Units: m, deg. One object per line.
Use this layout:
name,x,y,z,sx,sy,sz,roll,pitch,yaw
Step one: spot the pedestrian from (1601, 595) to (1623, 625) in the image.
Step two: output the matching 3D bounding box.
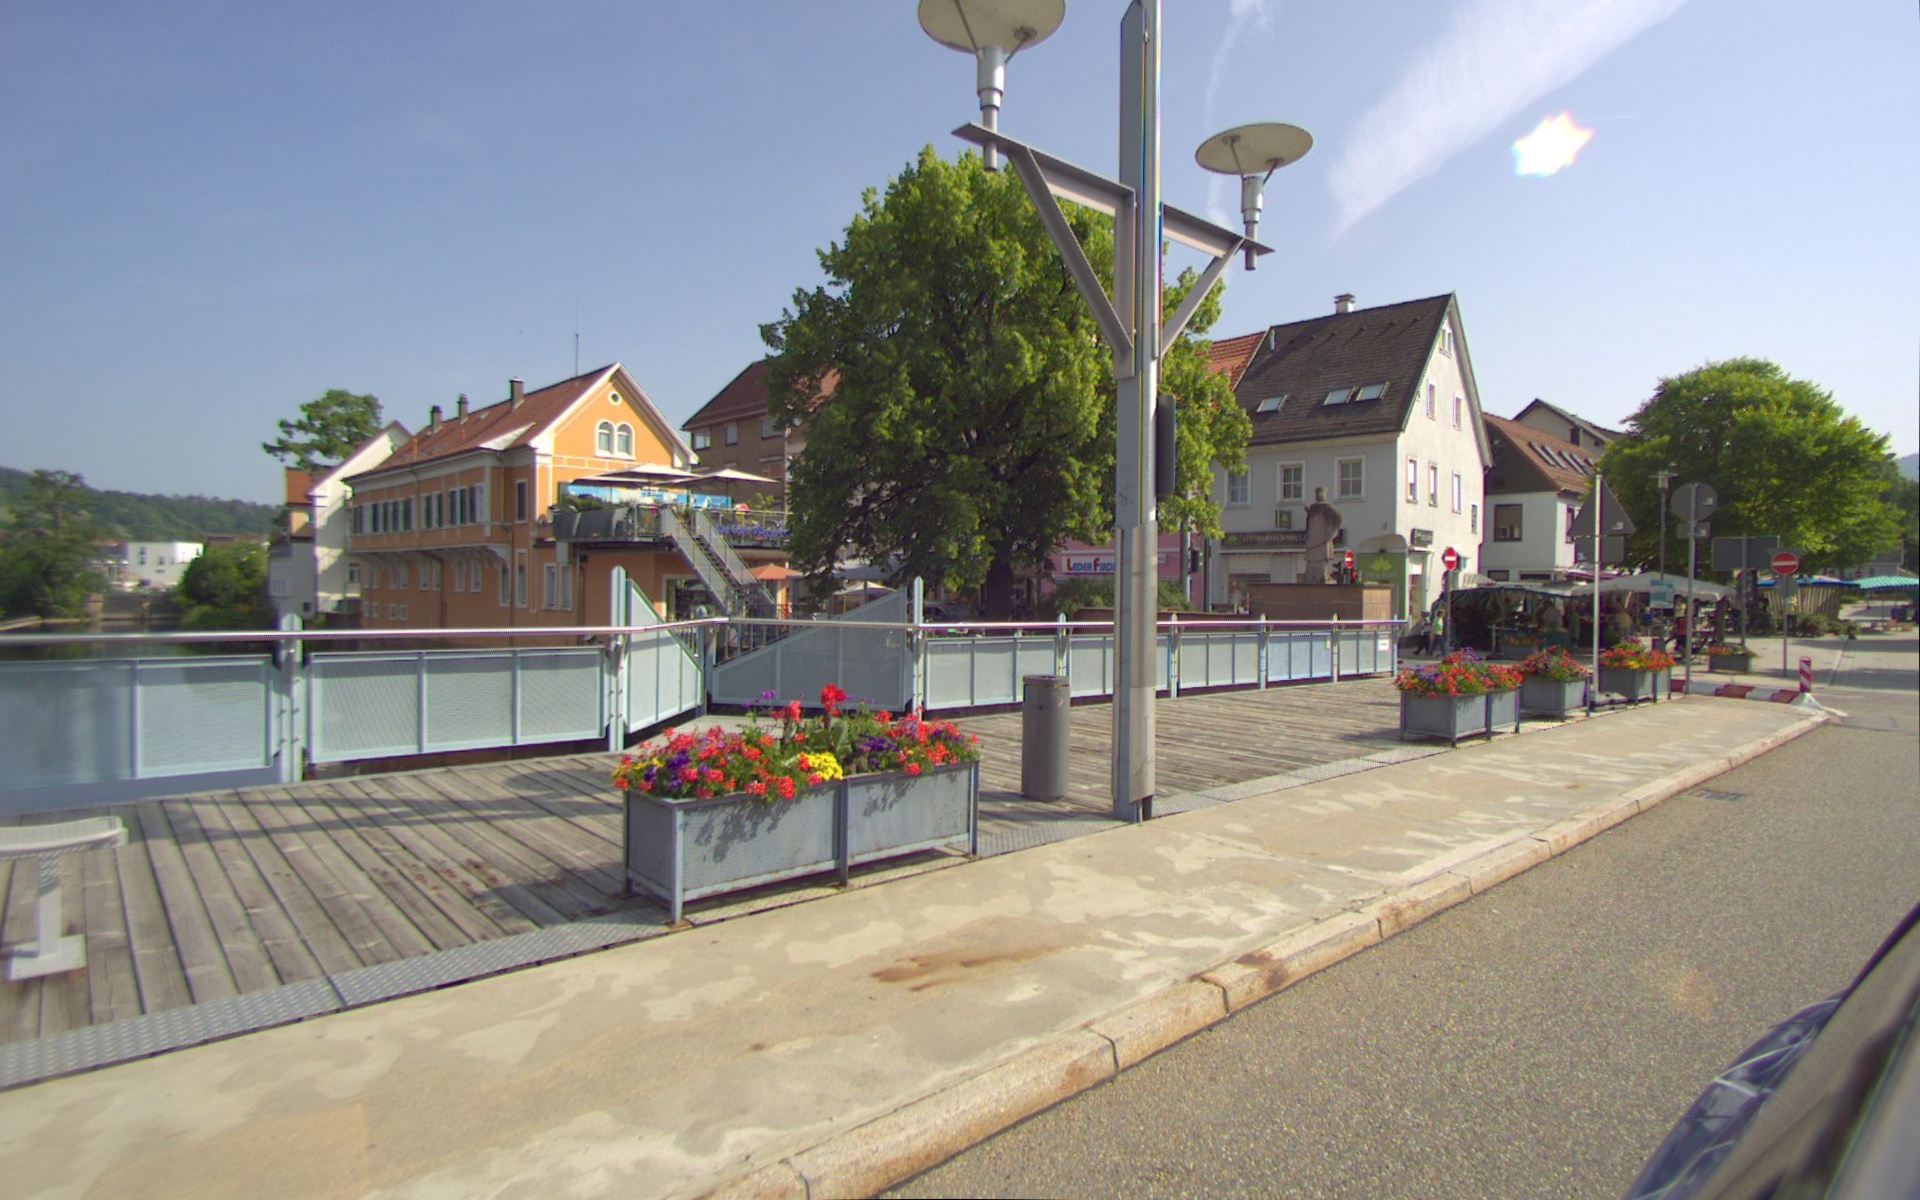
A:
pedestrian,30.361,0.460,47.124,0.687,1.347,0.626,-1,3,-40

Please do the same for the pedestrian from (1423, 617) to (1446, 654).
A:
pedestrian,15.652,1.157,33.415,0.614,1.175,0.513,1,0,19

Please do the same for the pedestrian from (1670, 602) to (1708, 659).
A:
pedestrian,22.607,0.939,31.400,0.878,1.678,0.565,3,3,36

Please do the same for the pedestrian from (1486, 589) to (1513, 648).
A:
pedestrian,18.624,0.628,34.937,0.705,1.995,0.500,1,0,44

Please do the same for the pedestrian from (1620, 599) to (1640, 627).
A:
pedestrian,29.988,0.573,45.288,0.640,1.215,0.571,-1,4,-42

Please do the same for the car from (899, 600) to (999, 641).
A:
car,-0.541,0.864,44.663,1.796,1.585,4.487,-2,2,-45

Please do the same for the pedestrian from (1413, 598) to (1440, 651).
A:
pedestrian,15.707,0.815,34.091,0.779,1.745,0.702,1,0,23

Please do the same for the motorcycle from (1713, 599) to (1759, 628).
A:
motorcycle,35.270,0.608,46.019,0.633,1.210,1.530,0,3,-43

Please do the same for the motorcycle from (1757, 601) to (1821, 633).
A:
motorcycle,36.237,0.733,44.278,0.630,1.210,2.009,1,3,-30

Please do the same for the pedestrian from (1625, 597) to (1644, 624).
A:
pedestrian,31.515,0.493,47.284,0.640,1.215,0.571,-1,4,-42

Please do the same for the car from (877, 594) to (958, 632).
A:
car,-2.179,0.601,50.716,4.133,1.761,1.685,0,2,44

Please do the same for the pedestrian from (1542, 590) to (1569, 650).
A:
pedestrian,20.583,0.683,34.985,0.700,2.010,0.647,1,0,26

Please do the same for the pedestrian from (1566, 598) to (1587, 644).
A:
pedestrian,22.615,0.765,37.127,0.520,1.647,0.696,1,0,42

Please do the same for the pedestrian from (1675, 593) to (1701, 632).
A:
pedestrian,31.086,0.526,43.216,0.562,1.572,0.699,0,3,-37

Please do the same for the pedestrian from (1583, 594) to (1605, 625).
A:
pedestrian,28.870,0.413,46.078,0.687,1.347,0.626,-1,3,-40

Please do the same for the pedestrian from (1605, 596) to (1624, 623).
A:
pedestrian,30.900,0.442,47.805,0.640,1.215,0.571,-1,4,-42

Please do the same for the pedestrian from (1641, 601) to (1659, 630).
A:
pedestrian,30.171,0.687,44.247,0.569,1.215,0.642,3,3,36

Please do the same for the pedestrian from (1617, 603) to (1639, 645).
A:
pedestrian,24.726,0.889,37.453,0.619,1.537,0.624,1,0,38

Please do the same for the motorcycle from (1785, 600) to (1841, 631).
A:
motorcycle,37.377,0.679,44.376,0.631,1.210,2.007,2,3,-2

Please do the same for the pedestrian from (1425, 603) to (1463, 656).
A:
pedestrian,15.706,0.945,32.845,0.775,1.652,0.857,-3,2,-42

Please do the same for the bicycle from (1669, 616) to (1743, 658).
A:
bicycle,23.676,1.144,32.160,1.849,1.250,0.610,1,0,34

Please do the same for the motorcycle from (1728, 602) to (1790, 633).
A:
motorcycle,35.181,0.739,44.572,0.630,1.210,2.009,0,4,-30

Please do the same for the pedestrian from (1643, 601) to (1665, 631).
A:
pedestrian,29.639,0.667,43.244,0.694,1.215,0.565,3,3,33

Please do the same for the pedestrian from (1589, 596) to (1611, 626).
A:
pedestrian,29.535,0.489,46.701,0.687,1.347,0.626,-1,3,-40
